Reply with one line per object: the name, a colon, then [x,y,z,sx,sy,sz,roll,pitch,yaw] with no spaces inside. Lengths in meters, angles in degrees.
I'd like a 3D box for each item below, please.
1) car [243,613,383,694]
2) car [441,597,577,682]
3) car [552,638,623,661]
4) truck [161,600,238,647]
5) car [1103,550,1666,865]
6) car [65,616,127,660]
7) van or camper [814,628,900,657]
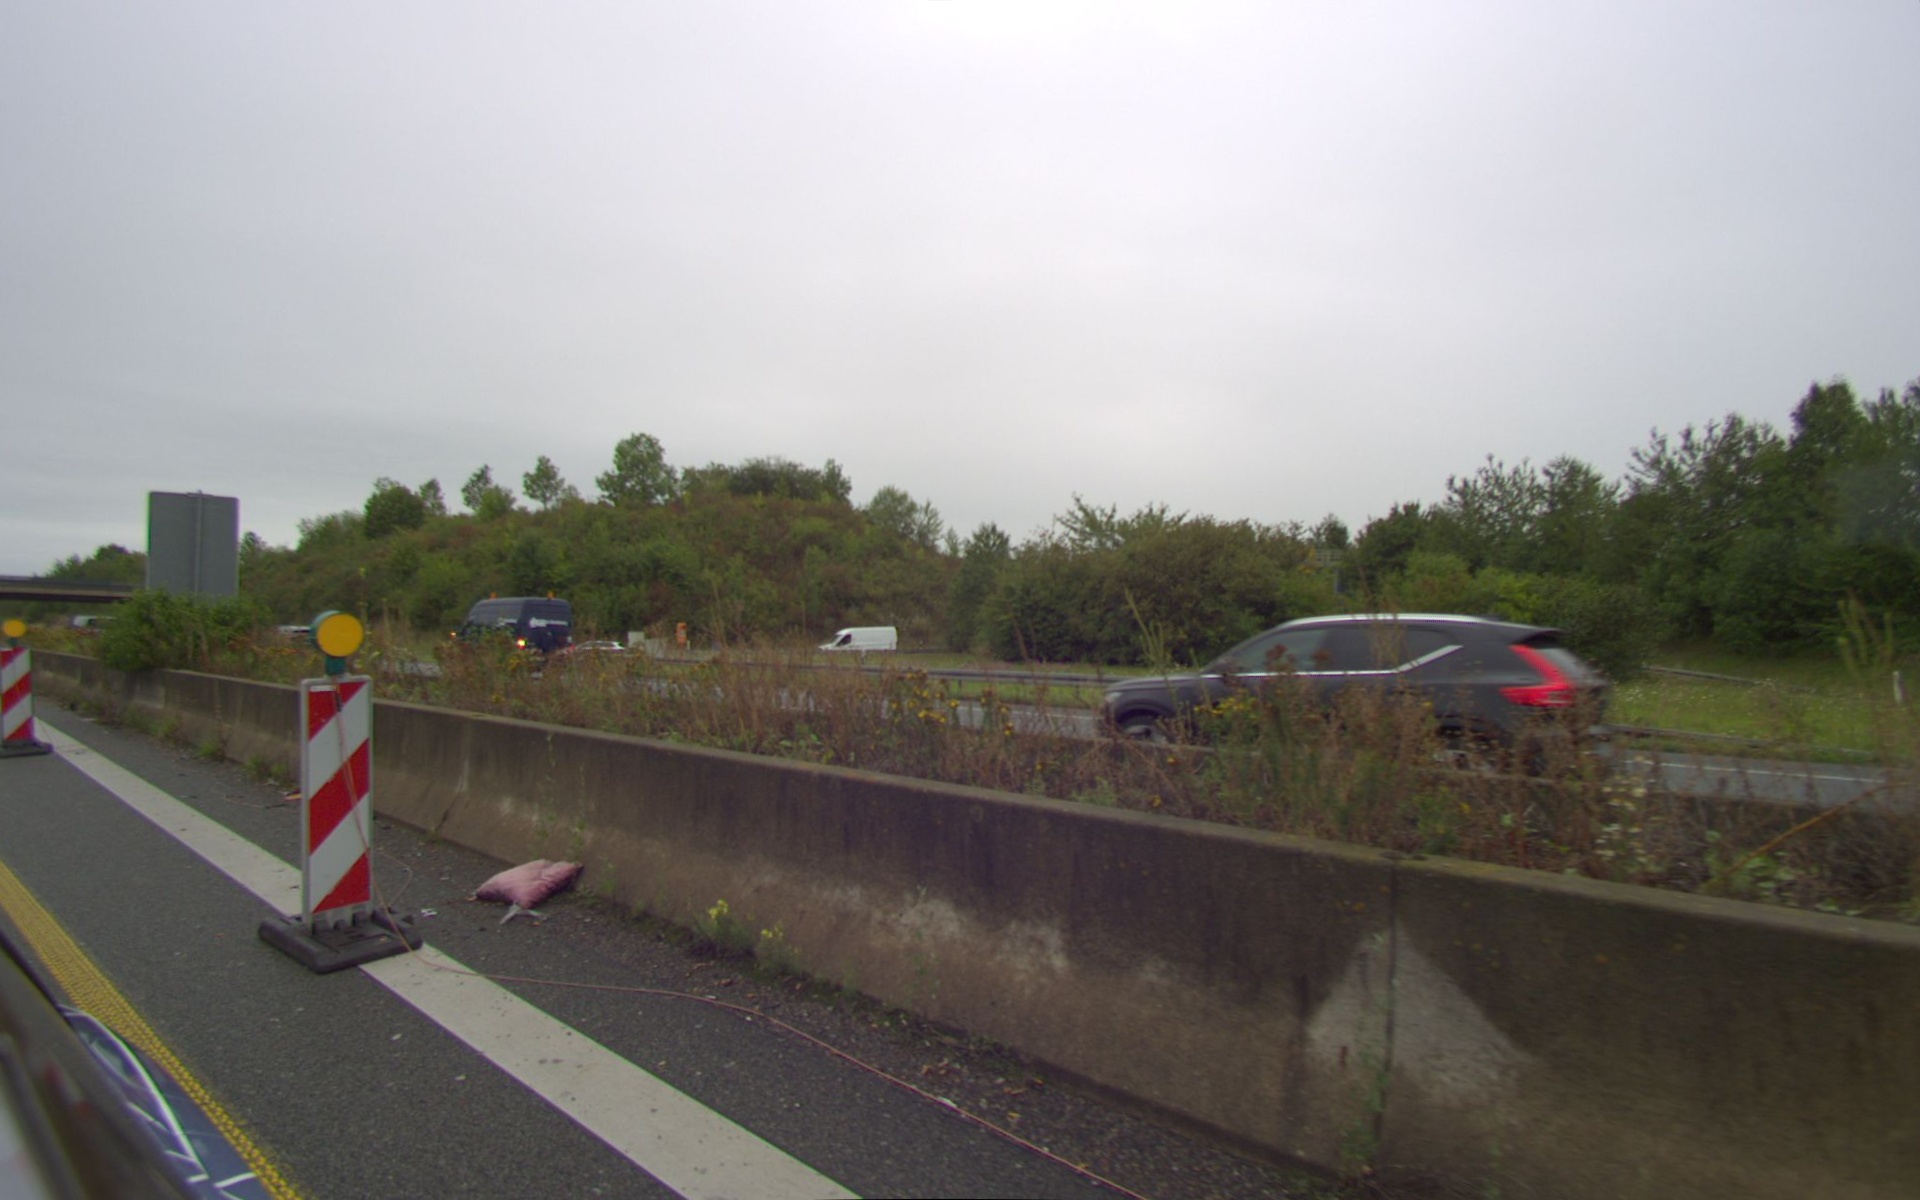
car: [-17.692,1.364,27.585,4.669,1.973,1.973,-1,0,41]
car: [-15.337,1.240,34.208,5.846,2.629,2.029,-1,0,42]
car: [-24.207,3.205,65.882,3.939,1.414,1.922,1,-2,-5]
truck: [-63.154,2.036,83.846,14.585,3.647,2.858,-2,-3,45]
car: [3.470,0.767,8.580,3.996,2.029,1.974,-1,-4,39]
car: [-42.896,1.842,50.186,5.253,2.029,1.748,-1,-1,43]
van or camper: [-7.308,3.045,72.105,5.747,2.029,2.006,2,-2,-30]
